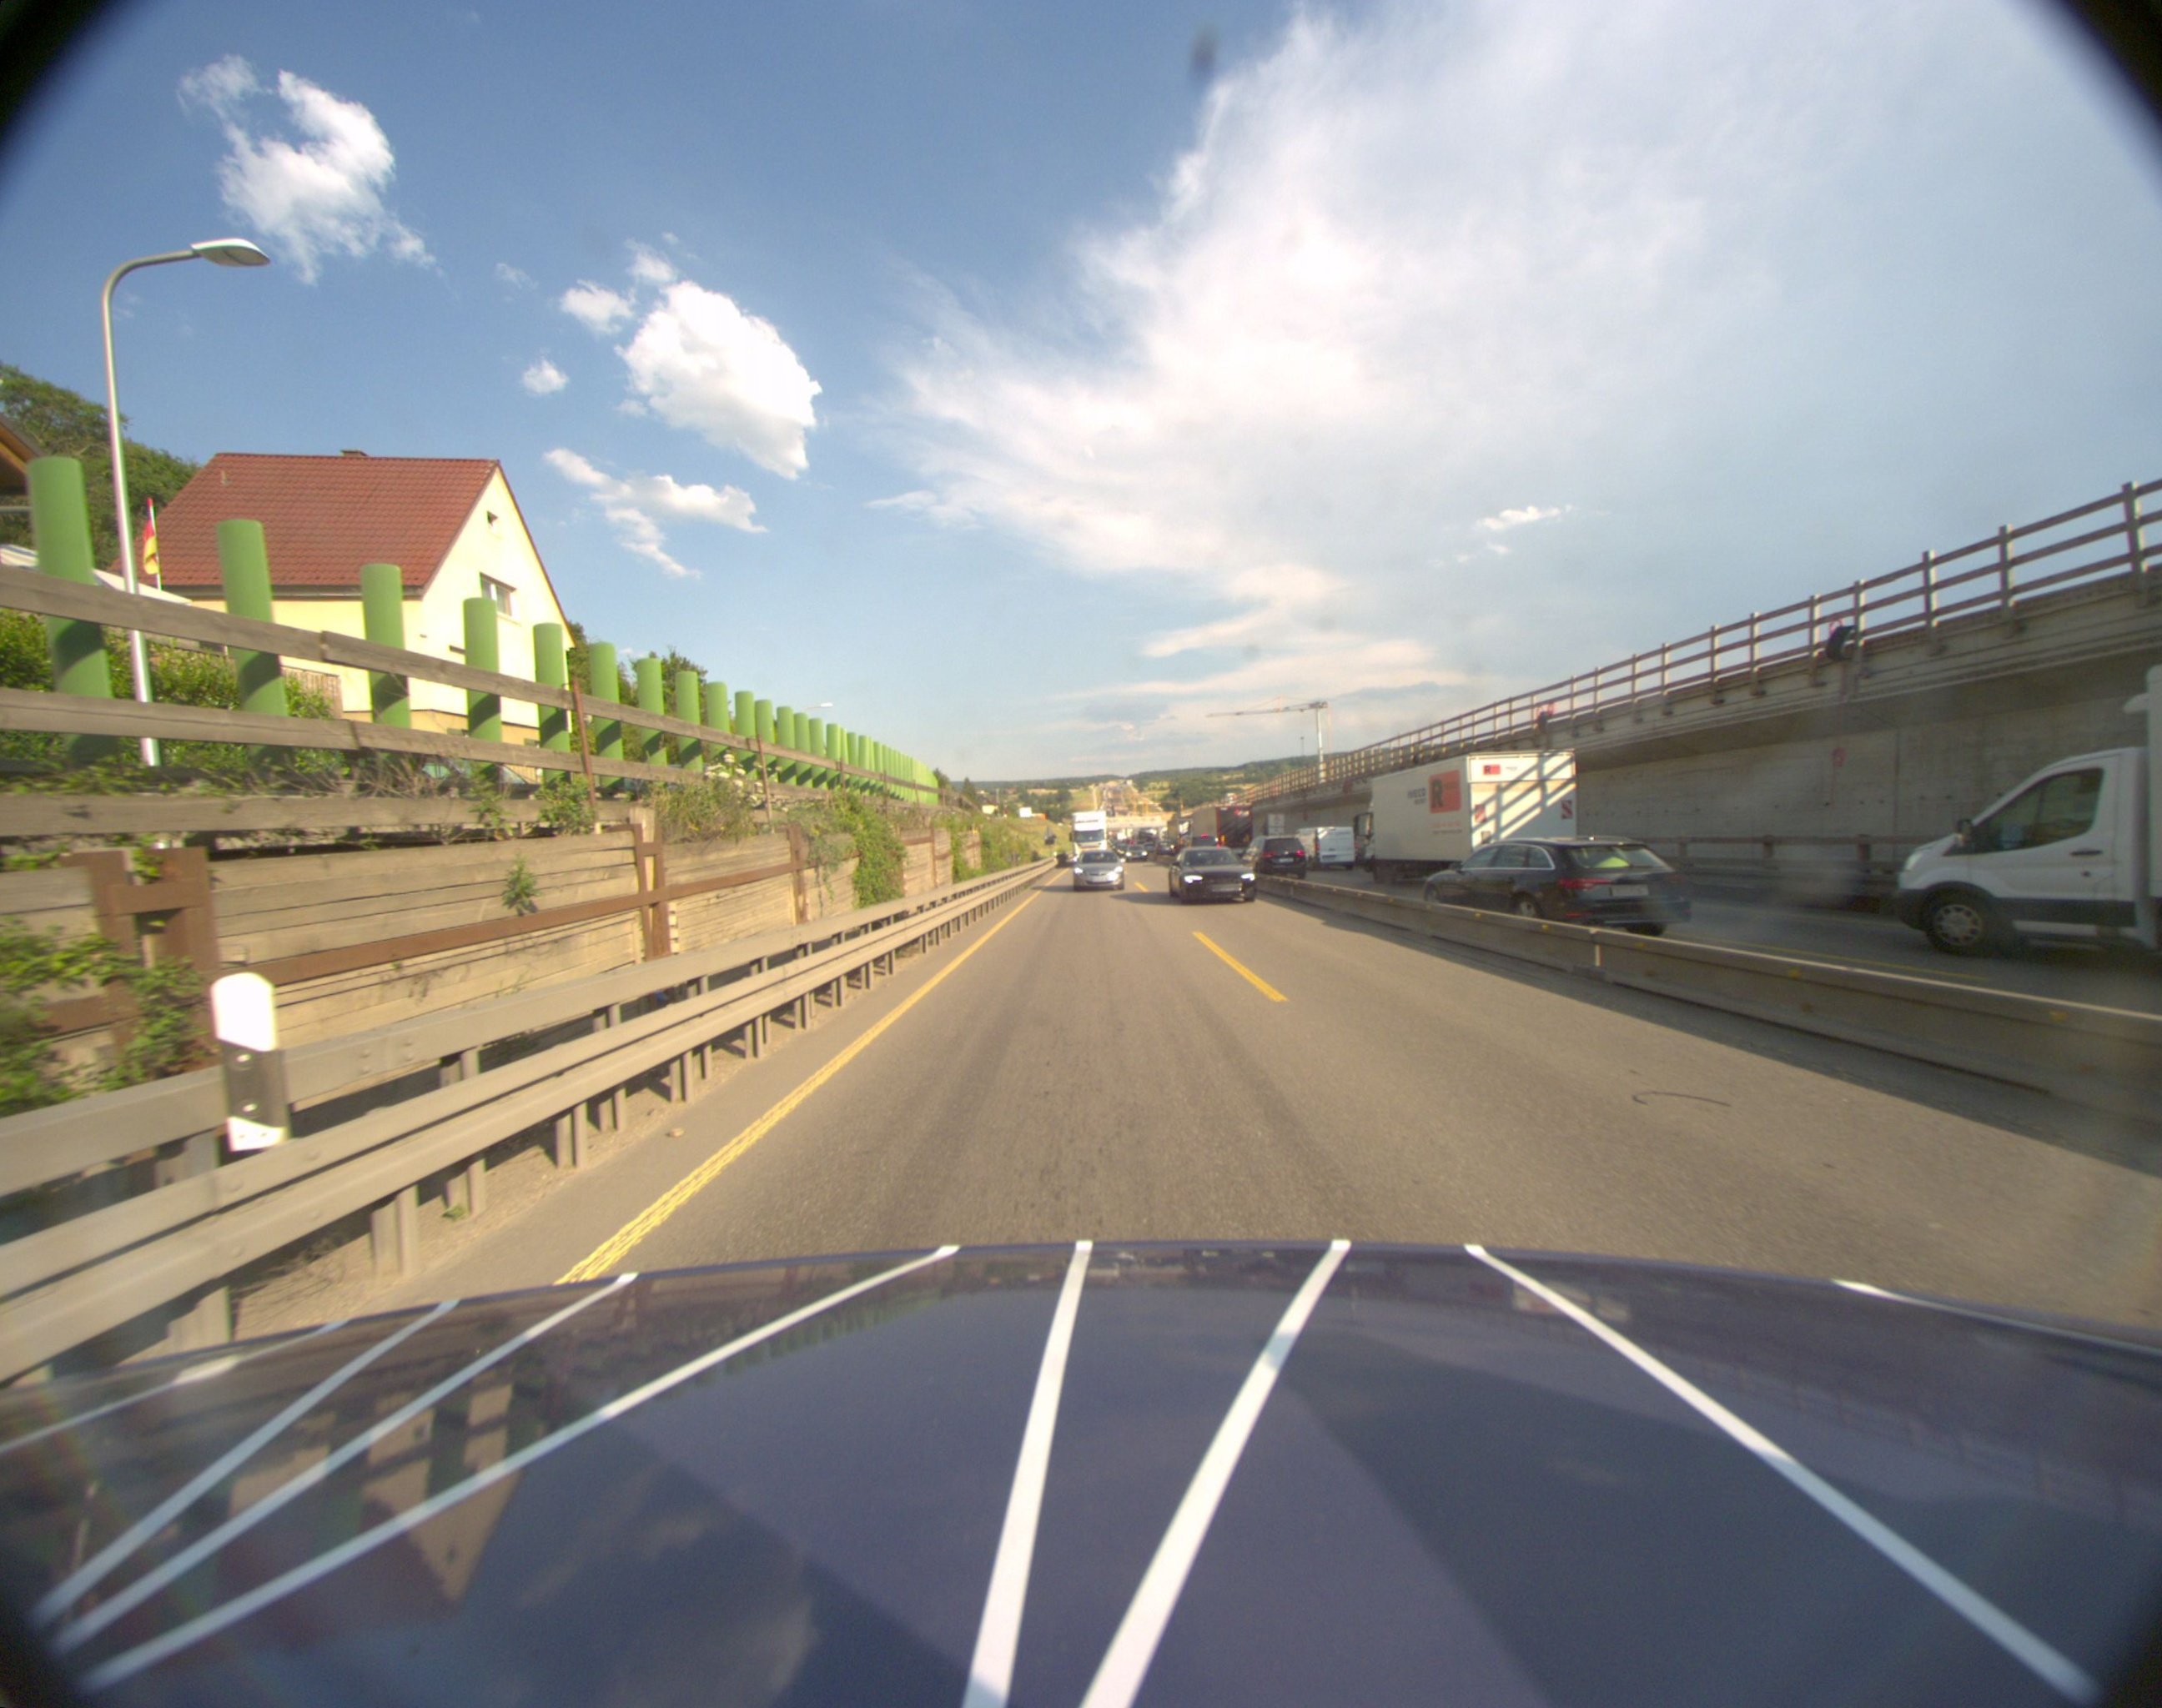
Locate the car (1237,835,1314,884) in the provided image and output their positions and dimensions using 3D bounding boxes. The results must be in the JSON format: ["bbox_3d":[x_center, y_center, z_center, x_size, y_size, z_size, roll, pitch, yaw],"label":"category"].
[{"bbox_3d":[7.591,0.141,30.077,1.836,1.636,4.687,-3,2,1],"label":"car"}]

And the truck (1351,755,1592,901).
[{"bbox_3d":[10.557,-0.721,21.813,2.721,3.405,8.138,0,2,1],"label":"truck"}]

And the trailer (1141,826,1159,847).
[{"bbox_3d":[14.472,-3.742,159.839,2.778,4.008,15.759,-3,2,2],"label":"trailer"}]

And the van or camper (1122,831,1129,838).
[{"bbox_3d":[13.265,-5.889,227.716,1.863,2.002,5.294,-3,2,1],"label":"van or camper"}]

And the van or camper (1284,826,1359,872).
[{"bbox_3d":[11.086,-0.273,35.412,1.922,1.911,4.922,-3,1,1],"label":"van or camper"}]

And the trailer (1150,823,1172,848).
[{"bbox_3d":[12.431,-2.941,118.672,2.563,3.507,10.679,-3,2,2],"label":"trailer"}]

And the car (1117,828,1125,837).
[{"bbox_3d":[13.121,-7.060,250.980,1.999,2.608,7.406,-3,2,-1],"label":"car"}]

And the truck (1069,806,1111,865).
[{"bbox_3d":[0.894,-1.503,59.783,2.741,4.034,12.668,-3,2,2],"label":"truck"}]

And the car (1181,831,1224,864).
[{"bbox_3d":[7.874,-0.460,49.721,1.990,1.911,5.290,-4,1,1],"label":"car"}]

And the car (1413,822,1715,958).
[{"bbox_3d":[6.961,0.375,11.658,1.746,1.587,4.556,-3,2,1],"label":"car"}]

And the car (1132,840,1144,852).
[{"bbox_3d":[9.185,-1.297,122.666,1.645,1.636,4.687,-3,2,1],"label":"car"}]

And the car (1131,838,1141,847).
[{"bbox_3d":[10.625,-2.232,147.490,1.729,1.548,4.296,-3,1,1],"label":"car"}]

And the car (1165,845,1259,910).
[{"bbox_3d":[3.433,0.550,20.674,1.873,1.411,4.348,-2,2,2],"label":"car"}]

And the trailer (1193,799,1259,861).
[{"bbox_3d":[11.372,-1.942,61.192,2.920,4.216,13.765,-3,2,2],"label":"trailer"}]

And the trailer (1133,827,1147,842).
[{"bbox_3d":[15.990,-5.434,206.866,2.659,3.829,13.439,-3,2,1],"label":"trailer"}]

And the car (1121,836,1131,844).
[{"bbox_3d":[9.917,-3.159,168.437,1.770,1.543,4.834,-3,2,0],"label":"car"}]

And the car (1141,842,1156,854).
[{"bbox_3d":[8.991,-0.842,101.545,1.645,1.451,4.595,-3,2,1],"label":"car"}]

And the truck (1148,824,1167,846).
[{"bbox_3d":[12.576,-3.108,125.073,2.555,3.390,5.530,-3,2,1],"label":"truck"}]

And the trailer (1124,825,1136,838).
[{"bbox_3d":[16.312,-7.581,254.232,2.933,4.014,13.768,-3,2,-1],"label":"trailer"}]

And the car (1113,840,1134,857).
[{"bbox_3d":[4.625,-0.598,83.428,1.998,1.740,3.999,-2,1,0],"label":"car"}]

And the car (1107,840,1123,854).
[{"bbox_3d":[4.239,-0.871,95.292,1.917,1.746,3.999,-2,1,1],"label":"car"}]

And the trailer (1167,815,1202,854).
[{"bbox_3d":[12.190,-2.198,90.757,2.771,4.117,14.026,-3,1,3],"label":"trailer"}]

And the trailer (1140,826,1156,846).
[{"bbox_3d":[14.716,-3.990,167.295,2.778,4.008,7.206,-3,2,2],"label":"trailer"}]

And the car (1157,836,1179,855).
[{"bbox_3d":[8.758,-0.908,77.065,1.826,1.762,5.139,-3,2,3],"label":"car"}]

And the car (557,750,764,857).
[{"bbox_3d":[-8.380,-0.926,15.677,1.887,1.802,4.246,-3,1,-1],"label":"car"}]

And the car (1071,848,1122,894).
[{"bbox_3d":[0.566,0.557,27.417,1.671,1.425,3.523,-2,2,2],"label":"car"}]

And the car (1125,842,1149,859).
[{"bbox_3d":[4.687,-0.308,64.375,1.692,1.294,3.882,-3,2,0],"label":"car"}]

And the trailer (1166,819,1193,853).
[{"bbox_3d":[12.522,-2.298,97.450,2.771,4.117,5.976,-3,1,3],"label":"trailer"}]

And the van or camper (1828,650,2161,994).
[{"bbox_3d":[10.520,-0.292,6.394,2.325,2.972,6.221,-1,2,0],"label":"van or camper"}]
